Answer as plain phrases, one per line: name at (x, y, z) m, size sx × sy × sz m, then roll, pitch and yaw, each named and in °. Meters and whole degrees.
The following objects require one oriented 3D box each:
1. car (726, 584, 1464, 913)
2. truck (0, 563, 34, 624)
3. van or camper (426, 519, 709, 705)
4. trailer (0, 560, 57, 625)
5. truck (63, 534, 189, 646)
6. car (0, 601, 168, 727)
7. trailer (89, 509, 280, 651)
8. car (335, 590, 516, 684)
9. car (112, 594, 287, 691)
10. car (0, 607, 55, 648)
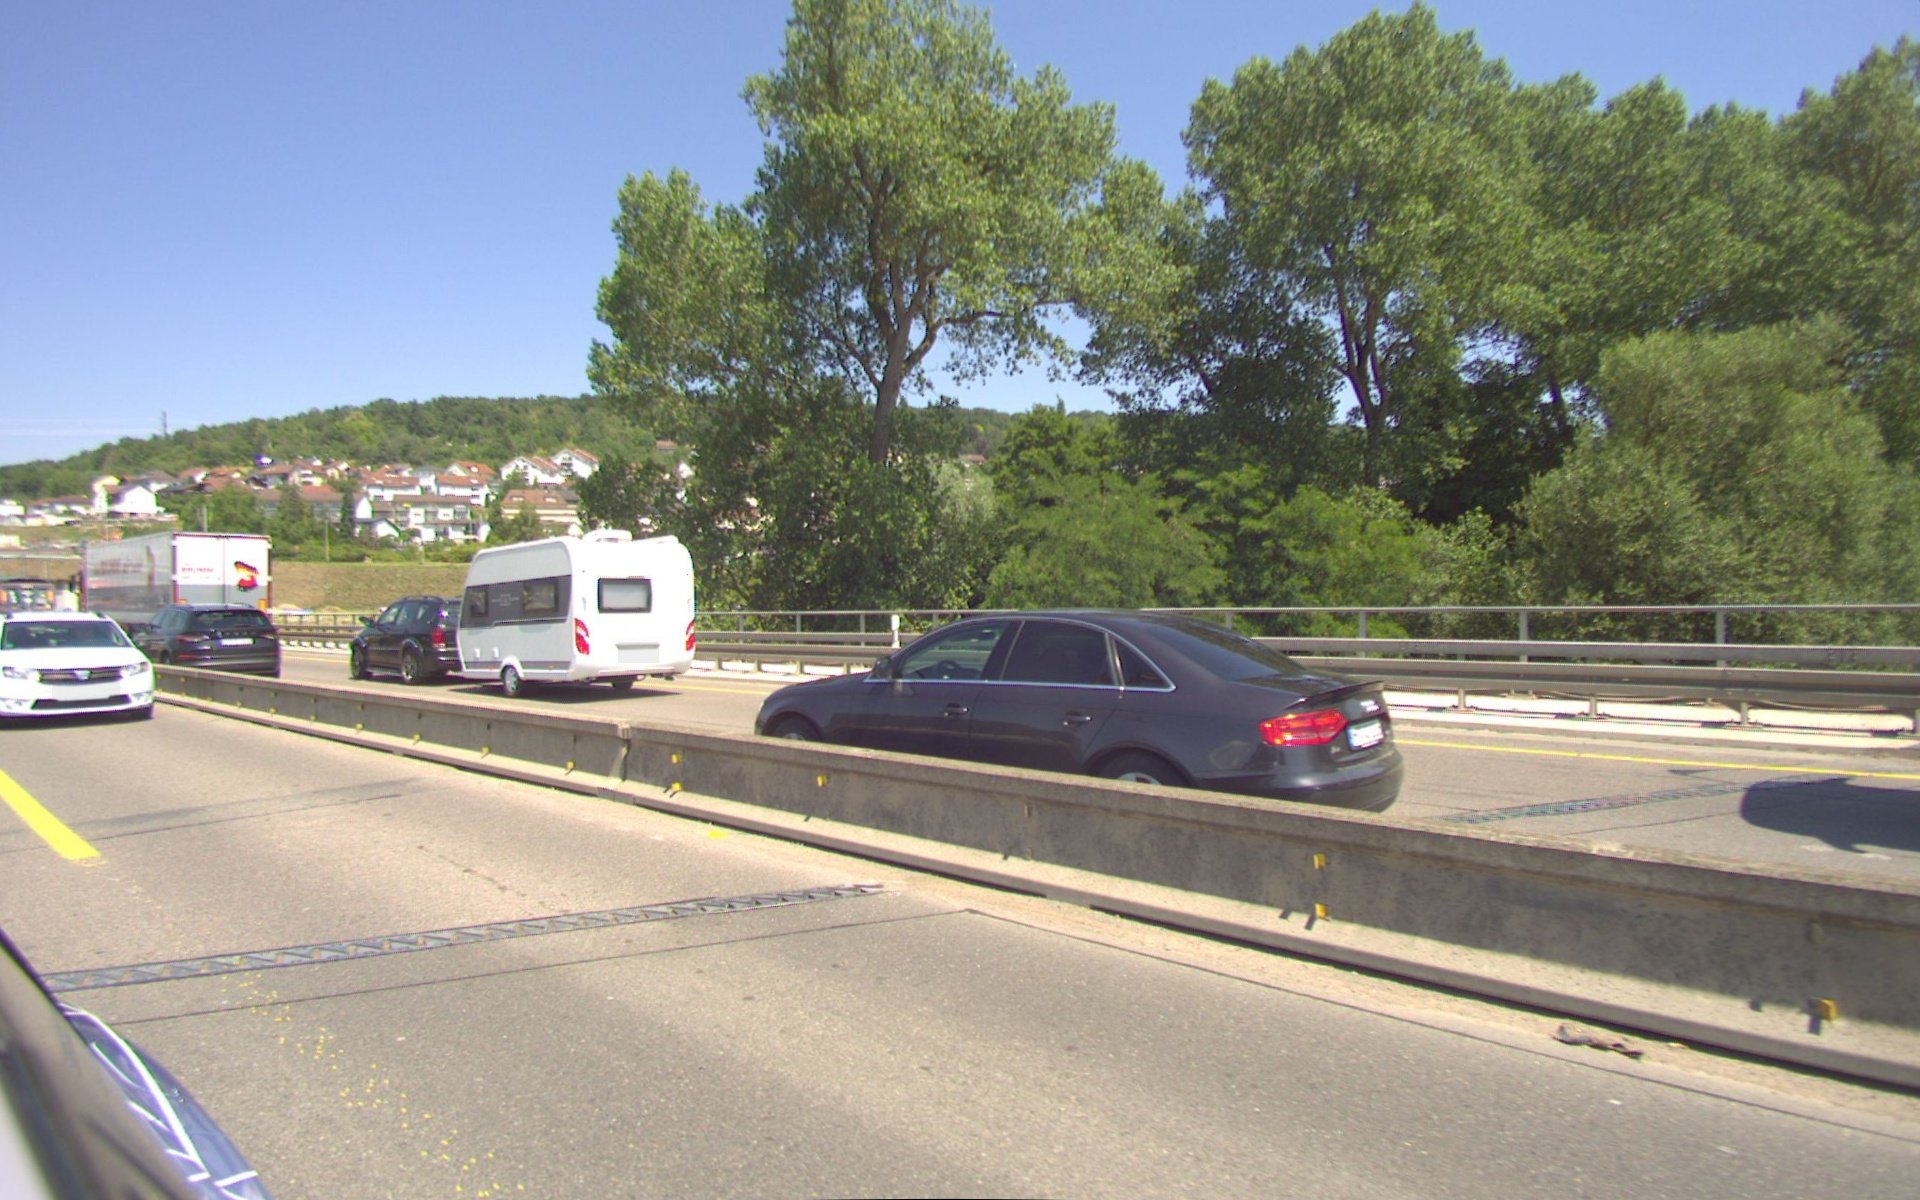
car at (0.610, 0.679, 6.624) m, size 4.533 × 1.431 × 1.760 m, roll -1°, pitch 1°, yaw 40°
truck at (-61.104, -0.429, 64.243) m, size 5.370 × 3.750 × 2.768 m, roll 0°, pitch 0°, yaw 40°
van or camper at (-6.899, 0.196, 17.490) m, size 5.242 × 2.719 × 2.477 m, roll -1°, pitch -1°, yaw 42°
trailer at (-57.031, -0.409, 60.862) m, size 8.949 × 3.700 × 2.766 m, roll 0°, pitch 0°, yaw 40°
truck at (-33.041, -0.301, 40.029) m, size 6.518 × 4.068 × 2.787 m, roll -1°, pitch -1°, yaw 41°
car at (-13.081, 0.806, 14.564) m, size 4.703 × 1.542 × 1.800 m, roll -1°, pitch 0°, yaw 41°
trailer at (-27.076, -0.489, 34.985) m, size 11.788 × 4.208 × 2.778 m, roll -1°, pitch -1°, yaw 40°
car at (-11.207, 0.717, 21.071) m, size 4.788 × 1.747 × 1.749 m, roll -1°, pitch 0°, yaw 41°
car at (-15.454, 0.796, 20.473) m, size 4.615 × 1.700 × 1.829 m, roll -1°, pitch 1°, yaw 40°
car at (-35.623, 1.039, 37.958) m, size 4.190 × 1.472 × 1.882 m, roll -1°, pitch -3°, yaw 40°
